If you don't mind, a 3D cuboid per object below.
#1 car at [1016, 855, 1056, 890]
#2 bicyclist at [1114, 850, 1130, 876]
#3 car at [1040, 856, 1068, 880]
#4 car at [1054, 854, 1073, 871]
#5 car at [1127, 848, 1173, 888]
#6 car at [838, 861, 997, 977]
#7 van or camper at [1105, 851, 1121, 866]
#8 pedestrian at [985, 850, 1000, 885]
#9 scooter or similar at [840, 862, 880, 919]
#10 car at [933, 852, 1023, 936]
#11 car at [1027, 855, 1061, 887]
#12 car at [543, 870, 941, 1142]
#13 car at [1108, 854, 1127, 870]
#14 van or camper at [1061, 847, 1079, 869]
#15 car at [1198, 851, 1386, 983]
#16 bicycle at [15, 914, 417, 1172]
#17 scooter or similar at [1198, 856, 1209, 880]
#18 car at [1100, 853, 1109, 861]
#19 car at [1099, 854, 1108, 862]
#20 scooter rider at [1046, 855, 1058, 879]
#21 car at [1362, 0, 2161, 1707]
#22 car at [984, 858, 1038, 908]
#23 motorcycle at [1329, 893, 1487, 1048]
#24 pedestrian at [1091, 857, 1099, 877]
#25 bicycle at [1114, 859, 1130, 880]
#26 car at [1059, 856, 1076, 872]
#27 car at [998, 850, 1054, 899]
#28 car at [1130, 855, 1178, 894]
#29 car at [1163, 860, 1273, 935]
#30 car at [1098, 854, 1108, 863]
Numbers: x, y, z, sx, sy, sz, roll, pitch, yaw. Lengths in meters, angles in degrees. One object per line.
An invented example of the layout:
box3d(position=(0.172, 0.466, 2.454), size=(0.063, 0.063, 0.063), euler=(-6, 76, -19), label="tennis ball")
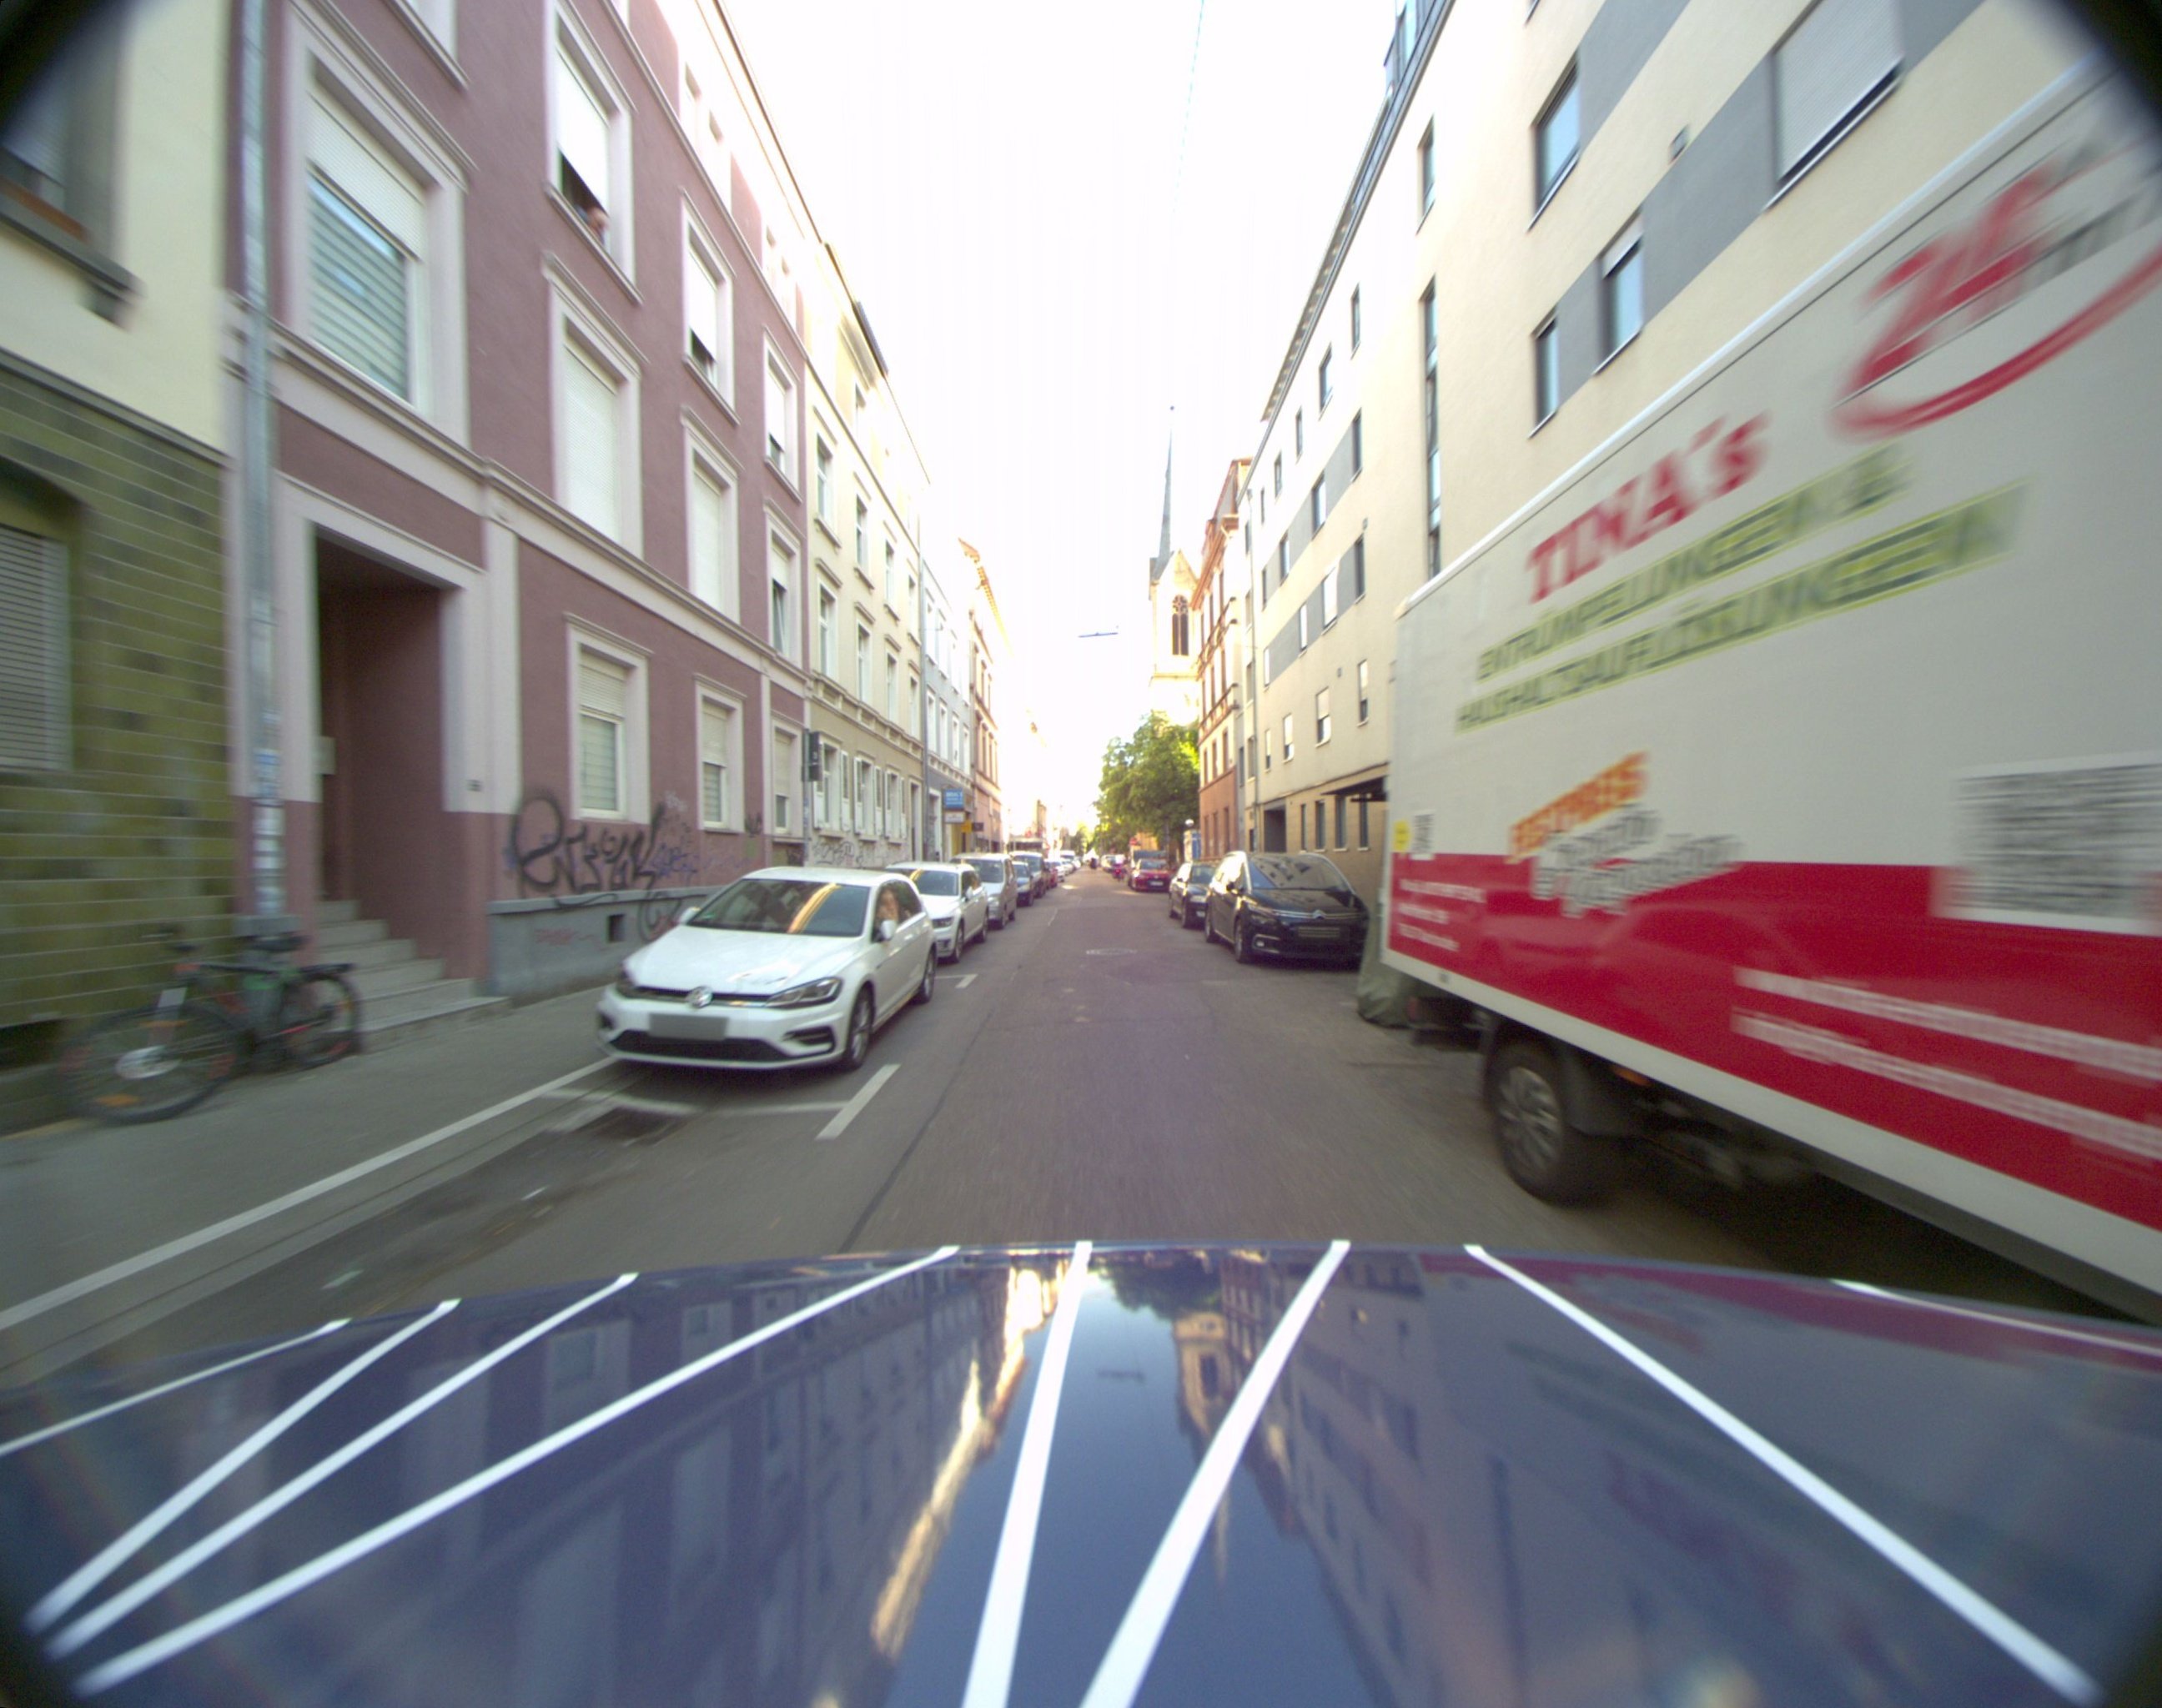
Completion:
box3d(position=(-2.162, 0.859, 37.502), size=(1.573, 1.548, 3.314), euler=(2, 1, 3), label="car")
box3d(position=(2.638, 0.571, 48.800), size=(0.952, 1.618, 0.953), euler=(1, 0, 2), label="bicyclist")
box3d(position=(-1.817, 0.914, 51.728), size=(1.792, 1.507, 4.135), euler=(-2, 1, -2), label="car")
box3d(position=(-1.637, 0.779, 70.574), size=(1.694, 1.454, 3.639), euler=(-2, 1, -2), label="car")
box3d(position=(3.466, 0.672, 39.301), size=(2.025, 1.868, 5.297), euler=(-2, 0, 2), label="car")
box3d(position=(-2.574, 0.941, 13.077), size=(1.701, 1.535, 4.628), euler=(1, 1, 0), label="car")
box3d(position=(4.150, 0.615, 100.130), size=(1.984, 1.939, 4.563), euler=(-1, 0, 1), label="van or camper")
box3d(position=(-4.461, 0.682, 38.305), size=(0.630, 1.730, 0.658), euler=(-2, 1, -12), label="pedestrian")
box3d(position=(-4.989, 0.799, 17.188), size=(0.451, 1.176, 1.368), euler=(3, 1, 0), label="scooter or similar")
box3d(position=(-2.318, 0.845, 17.869), size=(1.560, 1.702, 3.558), euler=(-2, 1, 0), label="car")
box3d(position=(-1.976, 0.891, 41.754), size=(1.610, 1.563, 3.553), euler=(-2, 1, 0), label="car")
box3d(position=(-2.471, 0.989, 6.721), size=(1.690, 1.535, 4.045), euler=(1, 1, 0), label="car")
box3d(position=(3.735, 0.831, 78.907), size=(1.798, 1.543, 3.834), euler=(-2, 1, 1), label="car")
box3d(position=(-1.350, 0.487, 96.320), size=(1.998, 2.617, 5.979), euler=(-2, 1, 1), label="van or camper")
box3d(position=(3.026, 0.829, 11.851), size=(1.721, 1.640, 4.246), euler=(2, -1, 0), label="car")
box3d(position=(-5.181, 1.041, 4.750), size=(0.522, 1.166, 1.685), euler=(-2, 1, 0), label="bicycle")
box3d(position=(6.618, 0.751, 41.142), size=(0.348, 1.209, 1.391), euler=(-2, 1, 0), label="scooter or similar")
box3d(position=(4.796, 0.616, 156.203), size=(1.777, 1.614, 4.022), euler=(-1, 0, 0), label="car")
box3d(position=(4.445, 0.828, 150.355), size=(1.777, 1.614, 4.022), euler=(-1, 0, 0), label="car")
box3d(position=(-2.192, 0.991, 57.405), size=(0.610, 1.768, 0.566), euler=(-1, 1, 40), label="scooter rider")
box3d(position=(3.014, 0.046, 1.489), size=(2.349, 3.272, 7.154), euler=(1, 1, 1), label="car")
box3d(position=(-2.326, 0.934, 25.973), size=(1.556, 1.502, 3.611), euler=(-2, 1, -2), label="car")
box3d(position=(3.327, 1.063, 7.609), size=(0.789, 1.245, 2.112), euler=(1, 0, 42), label="motorcycle")
box3d(position=(1.322, 1.217, 72.851), size=(0.718, 1.862, 0.720), euler=(-2, 1, 0), label="pedestrian")
box3d(position=(2.627, 0.978, 48.561), size=(0.980, 1.306, 2.555), euler=(0, 0, 2), label="bicycle")
box3d(position=(-1.399, 1.017, 80.087), size=(1.558, 1.517, 4.200), euler=(-2, 1, 1), label="car")
box3d(position=(-2.186, 0.757, 31.147), size=(1.904, 1.783, 4.314), euler=(-2, 1, 0), label="car")
box3d(position=(3.148, 0.873, 33.575), size=(1.755, 1.513, 3.869), euler=(2, 1, 1), label="car")
box3d(position=(3.024, 0.909, 17.642), size=(1.721, 1.470, 4.499), euler=(2, -1, 0), label="car")
box3d(position=(4.167, 0.847, 145.703), size=(1.777, 1.614, 4.022), euler=(-1, 0, 0), label="car")
